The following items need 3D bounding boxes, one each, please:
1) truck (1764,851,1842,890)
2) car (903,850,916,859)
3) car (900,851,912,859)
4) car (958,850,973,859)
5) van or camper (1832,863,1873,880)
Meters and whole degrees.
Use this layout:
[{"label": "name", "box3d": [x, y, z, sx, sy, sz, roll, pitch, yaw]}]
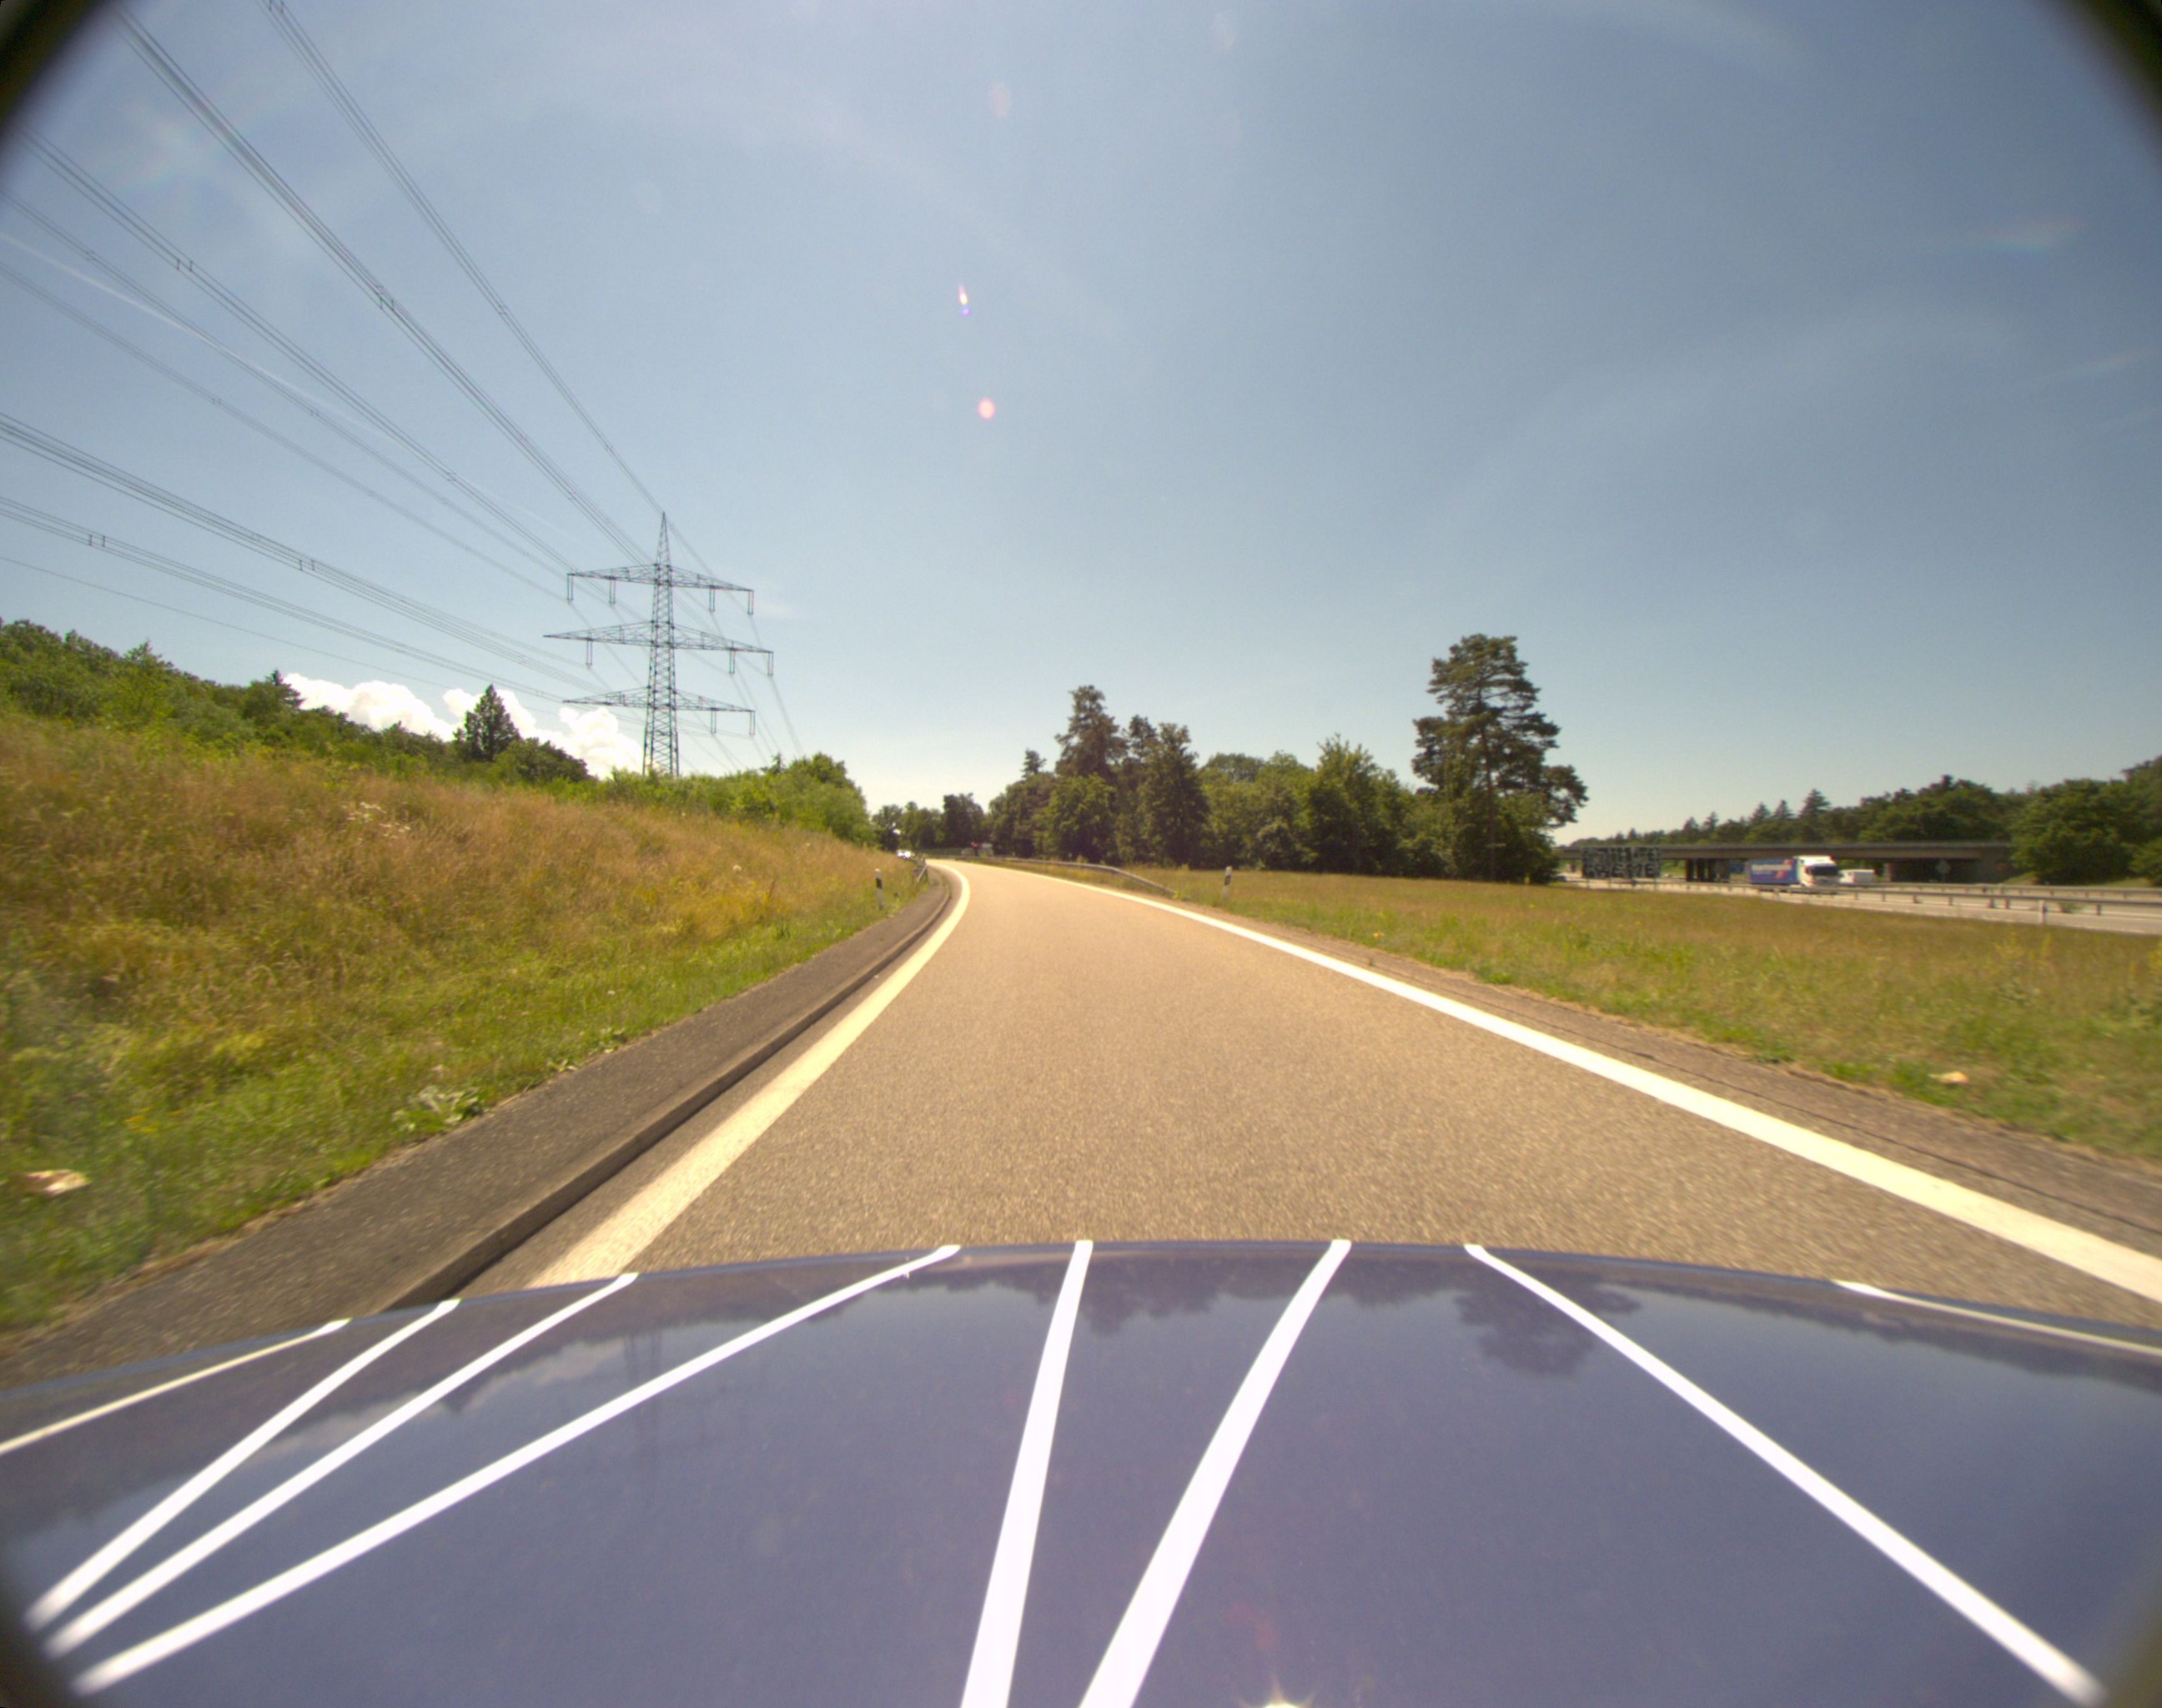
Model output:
[{"label": "truck", "box3d": [78.257, 1.804, 82.647, 2.705, 4.033, 11.069, -1, -1, 25]}, {"label": "car", "box3d": [-33.375, 0.103, 147.631, 2.002, 1.674, 3.993, -1, 0, -21]}, {"label": "car", "box3d": [-38.300, 0.154, 165.844, 2.002, 1.674, 3.993, -1, 0, -20]}, {"label": "car", "box3d": [-21.388, 0.107, 140.142, 2.001, 1.631, 5.263, 2, 0, -16]}, {"label": "van or camper", "box3d": [118.399, 2.678, 116.729, 2.244, 2.362, 5.837, 2, 0, 22]}]
